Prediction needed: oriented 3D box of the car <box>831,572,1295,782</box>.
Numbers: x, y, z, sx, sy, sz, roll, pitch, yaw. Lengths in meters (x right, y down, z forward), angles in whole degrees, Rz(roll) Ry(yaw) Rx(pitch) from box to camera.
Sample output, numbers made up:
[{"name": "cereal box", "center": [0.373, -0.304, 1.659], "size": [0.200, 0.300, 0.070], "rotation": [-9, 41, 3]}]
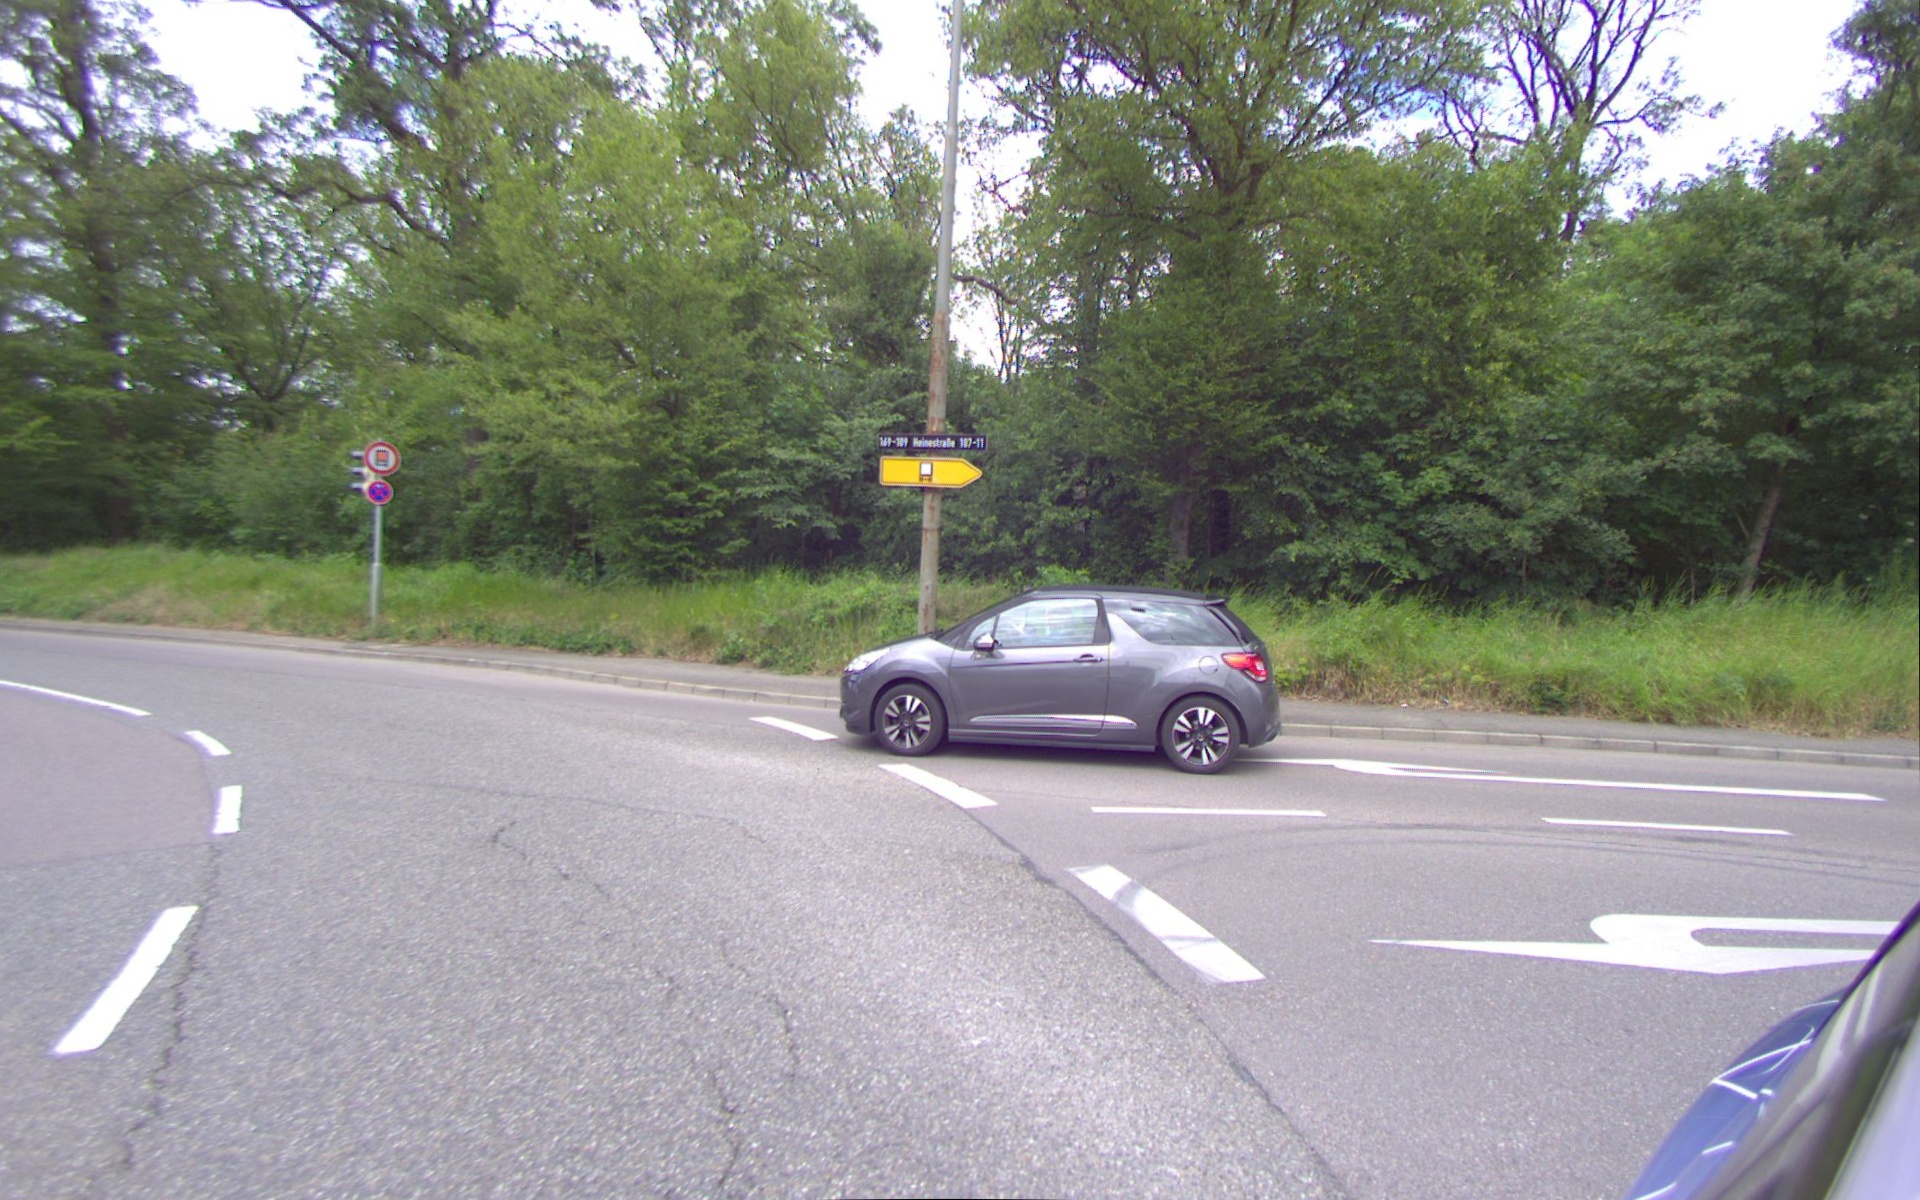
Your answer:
[{"name": "car", "center": [0.938, 0.542, 9.018], "size": [3.754, 1.529, 1.815], "rotation": [1, 2, 16]}]
